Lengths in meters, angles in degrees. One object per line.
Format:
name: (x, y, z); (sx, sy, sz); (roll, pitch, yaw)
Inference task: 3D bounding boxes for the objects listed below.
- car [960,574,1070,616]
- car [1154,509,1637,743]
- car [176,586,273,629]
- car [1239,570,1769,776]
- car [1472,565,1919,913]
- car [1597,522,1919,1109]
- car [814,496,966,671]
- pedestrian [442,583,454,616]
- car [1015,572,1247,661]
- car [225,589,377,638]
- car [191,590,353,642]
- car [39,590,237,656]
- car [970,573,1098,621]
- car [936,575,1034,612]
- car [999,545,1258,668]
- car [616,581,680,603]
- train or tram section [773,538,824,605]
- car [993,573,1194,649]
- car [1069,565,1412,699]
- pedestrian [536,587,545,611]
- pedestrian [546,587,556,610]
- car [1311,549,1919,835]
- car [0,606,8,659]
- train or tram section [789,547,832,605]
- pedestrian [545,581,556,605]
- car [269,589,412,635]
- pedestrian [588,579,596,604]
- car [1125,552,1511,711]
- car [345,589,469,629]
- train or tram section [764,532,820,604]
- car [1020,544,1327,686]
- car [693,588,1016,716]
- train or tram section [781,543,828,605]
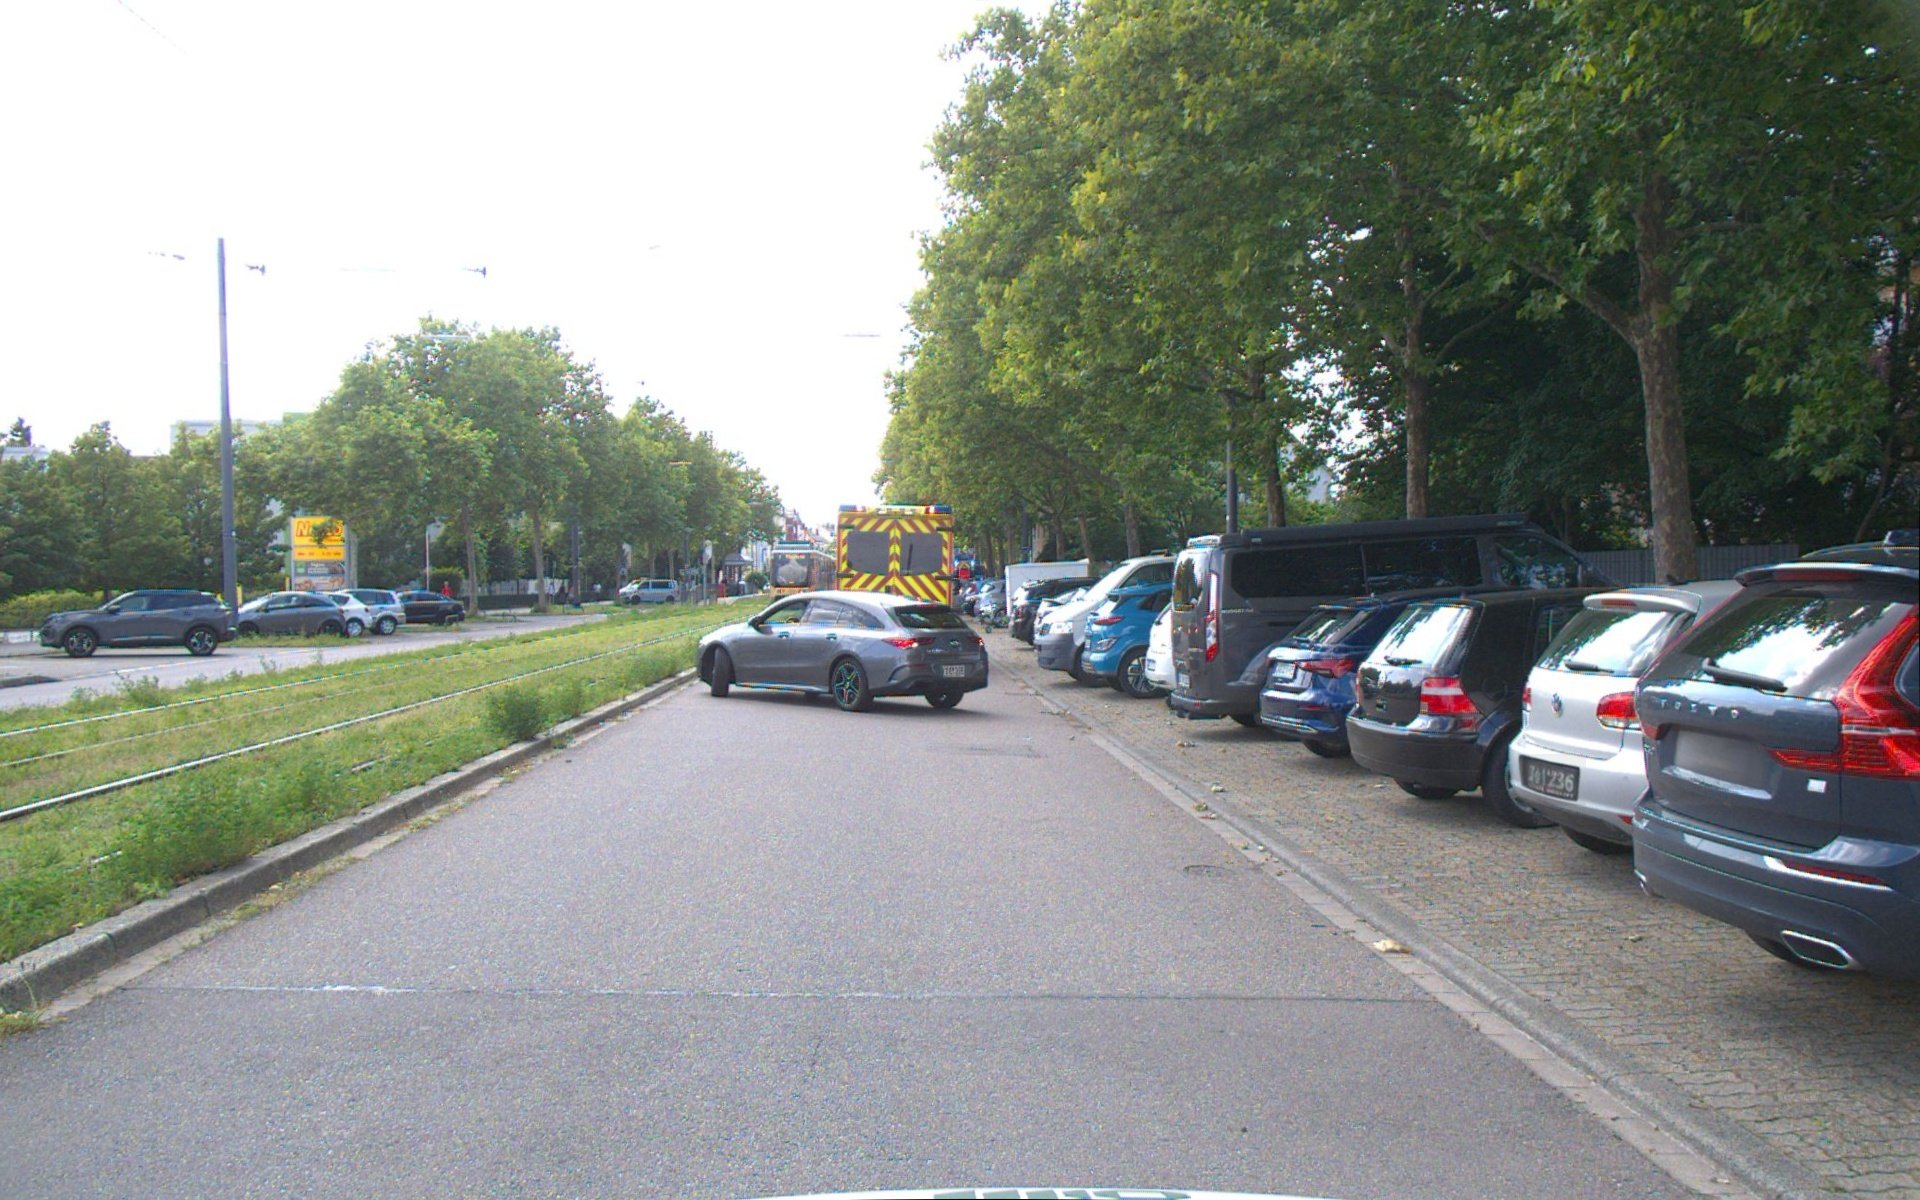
car: (2.349, -0.210, 70.709); (4.458, 1.636, 1.853); (-2, 0, -7)
car: (4.393, 0.236, 17.132); (4.455, 2.160, 1.855); (-2, 0, -3)
car: (-32.502, 0.301, 73.076); (3.912, 1.780, 1.997); (2, 1, 29)
car: (4.496, 0.572, 14.041); (3.887, 1.520, 1.755); (-2, 0, -3)
car: (4.858, 0.591, 8.474); (3.887, 1.520, 1.755); (-2, 0, -3)
car: (4.661, 0.547, 5.626); (4.292, 1.668, 1.756); (-2, 0, -1)
car: (-1.286, -0.308, 32.513); (2.588, 3.018, 6.298); (2, 0, -1)
pedestrian: (-26.606, -0.014, 85.982); (0.457, 1.706, 0.603); (-1, 0, -4)
car: (3.487, 0.316, 34.172); (4.458, 1.636, 1.853); (-2, 0, -7)
car: (-21.082, 0.404, 52.977); (4.192, 1.508, 1.857); (0, 0, -39)
car: (-20.800, 0.479, 50.069); (4.192, 1.508, 1.857); (0, 0, -39)
car: (-19.812, 0.531, 39.986); (4.172, 1.508, 1.867); (0, 0, -28)
car: (2.689, -0.121, 60.867); (4.458, 1.636, 1.853); (-2, 0, -7)
car: (1.183, -0.328, 78.896); (4.458, 1.636, 1.853); (-2, 0, -7)
car: (3.074, 0.103, 30.679); (4.458, 2.079, 1.853); (-2, 0, -7)
car: (-24.244, -0.614, 128.642); (4.588, 1.661, 1.855); (-1, 1, -42)
train or tram section: (-9.312, -1.603, 96.110); (2.462, 3.646, 7.441); (-2, 0, -3)
car: (3.132, 0.244, 39.317); (4.458, 1.636, 1.853); (-2, 0, -7)
car: (3.929, 0.424, 23.584); (4.459, 1.689, 1.853); (-2, 0, -7)
pedestrian: (-25.938, -0.053, 102.251); (0.413, 1.499, 0.467); (-1, 0, -7)
pedestrian: (-25.746, -0.084, 104.138); (0.412, 1.439, 0.467); (-1, 0, 22)
car: (4.558, 0.526, 11.187); (3.897, 1.633, 1.750); (-2, 0, -13)
car: (-31.177, 0.955, 49.815); (3.905, 1.592, 1.777); (1, 0, 0)
train or tram section: (-9.984, -1.544, 110.976); (2.462, 3.646, 7.441); (-2, 0, -3)
pedestrian: (-27.658, -0.467, 111.675); (0.620, 1.578, 0.621); (-1, 0, -5)
car: (-20.961, 0.381, 56.009); (4.192, 1.508, 1.857); (0, 0, -39)
pedestrian: (-27.539, -0.613, 123.775); (0.457, 1.860, 0.422); (-1, 0, -4)
car: (4.471, 0.368, 21.073); (4.455, 1.797, 1.855); (-2, 0, -3)
car: (-21.452, 0.342, 64.197); (4.199, 1.508, 1.854); (0, 0, -42)
train or tram section: (-8.965, -1.631, 88.690); (2.462, 3.646, 7.441); (-2, 0, -3)
car: (3.307, 0.210, 26.093); (4.458, 2.035, 1.853); (-2, 0, -7)
car: (-1.464, 0.604, 21.400); (1.753, 1.409, 4.396); (1, 1, -44)
train or tram section: (-9.652, -1.573, 103.544); (2.462, 3.646, 7.441); (-2, 0, -3)
